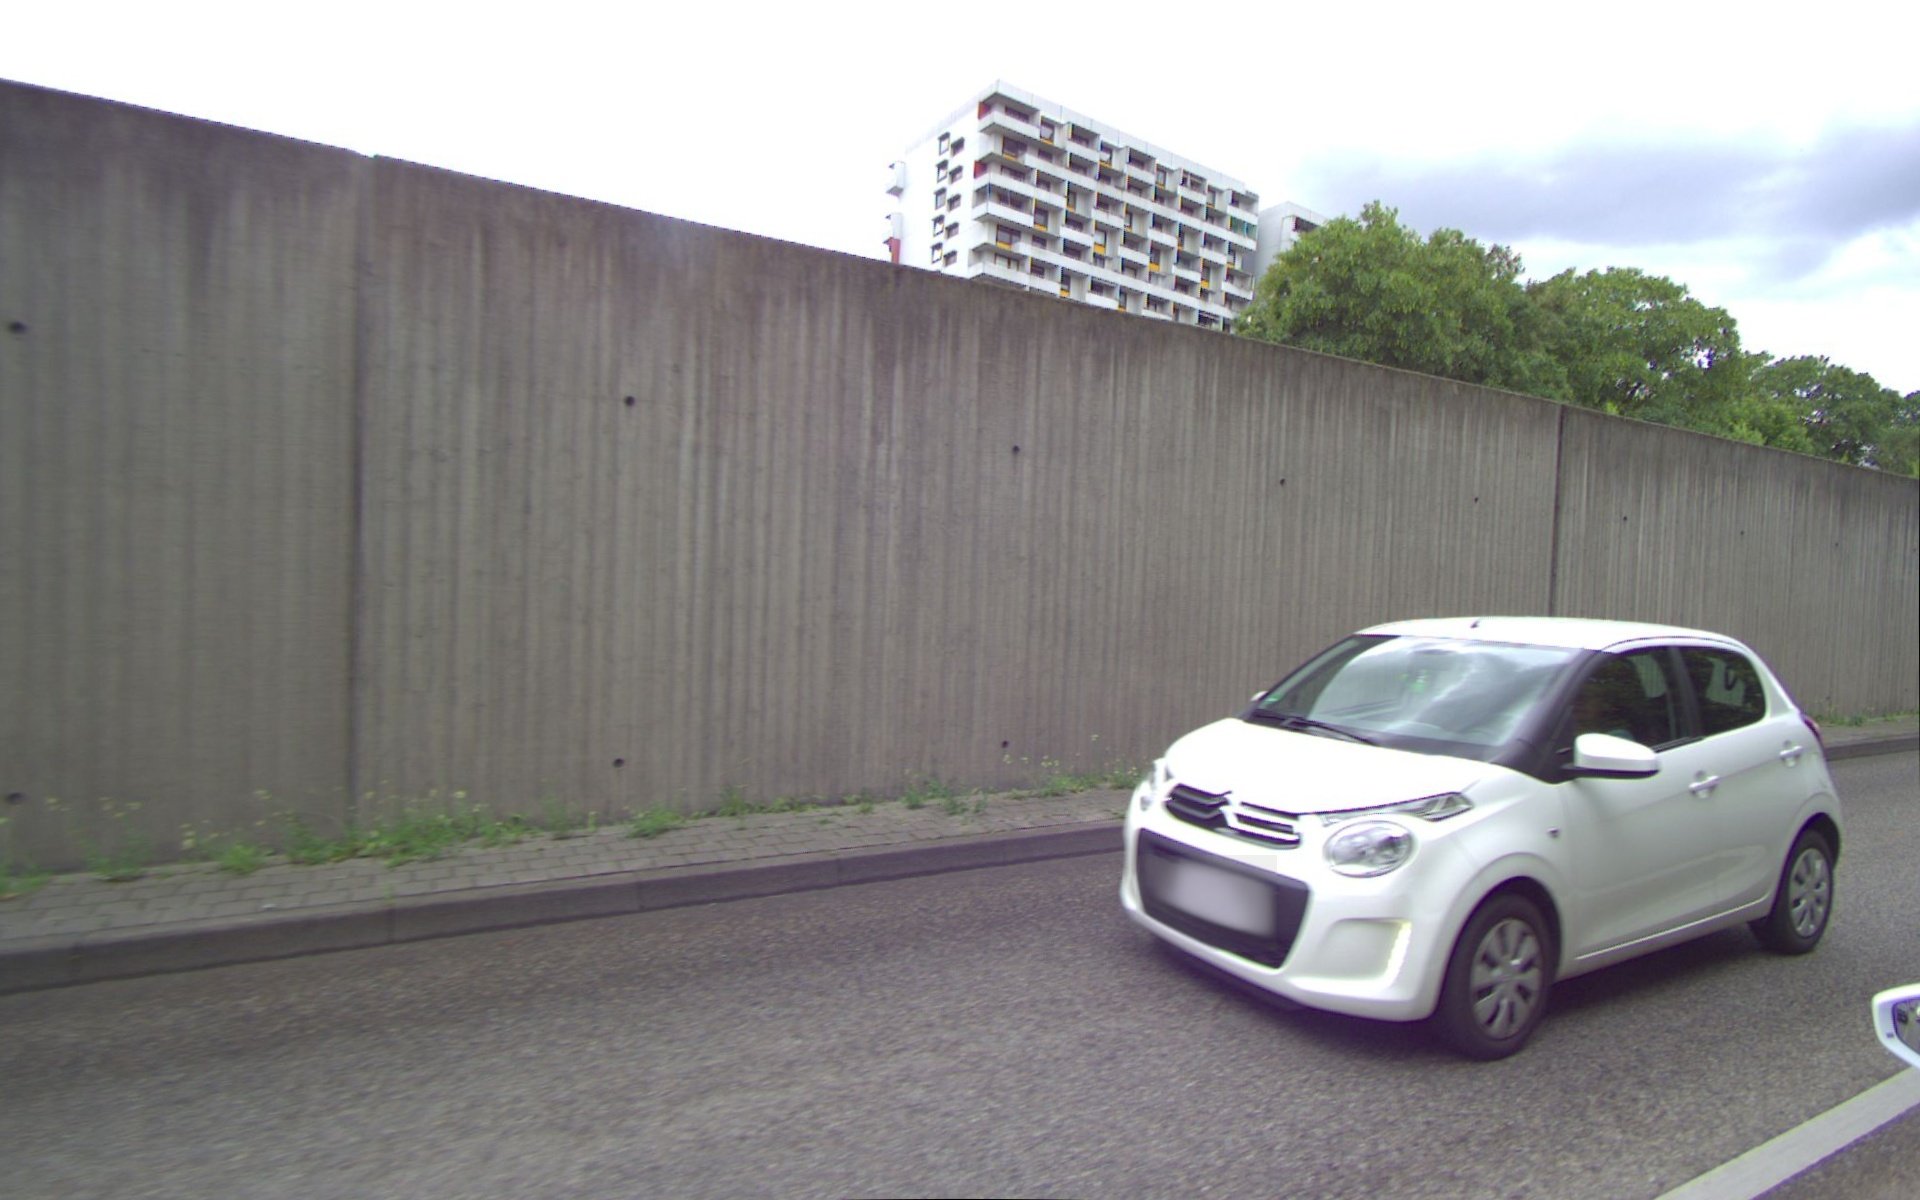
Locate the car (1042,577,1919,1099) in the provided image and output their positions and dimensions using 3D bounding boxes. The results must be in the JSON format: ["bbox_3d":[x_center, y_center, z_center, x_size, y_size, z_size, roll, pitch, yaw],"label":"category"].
[{"bbox_3d":[2.647,0.711,4.809,4.159,1.516,1.906,1,1,-31],"label":"car"}]
